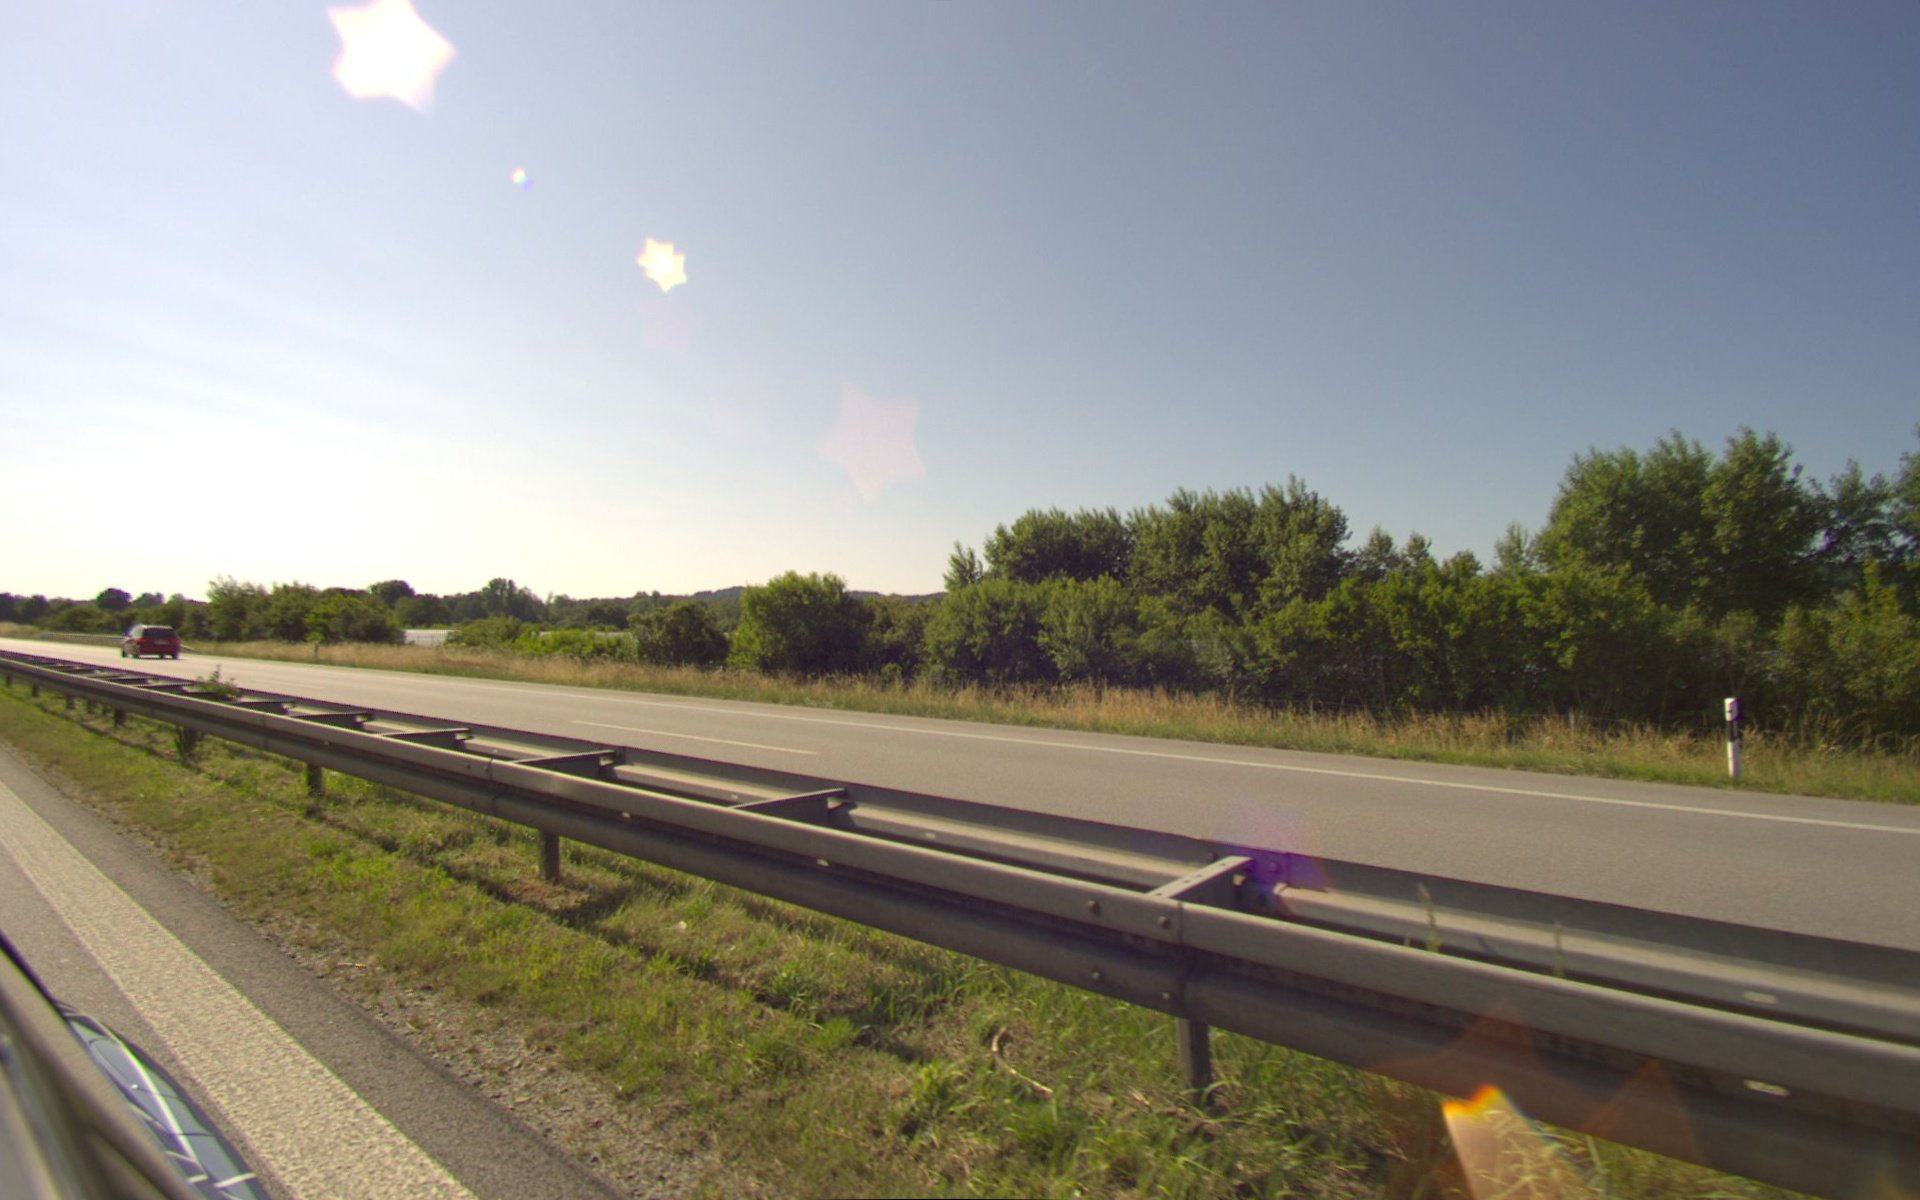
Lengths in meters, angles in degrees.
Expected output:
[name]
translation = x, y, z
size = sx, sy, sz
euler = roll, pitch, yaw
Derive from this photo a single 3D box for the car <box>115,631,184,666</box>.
[car]
translation = -37.103, 2.204, 46.290
size = 4.479, 1.523, 1.711
euler = -2, -5, 42
